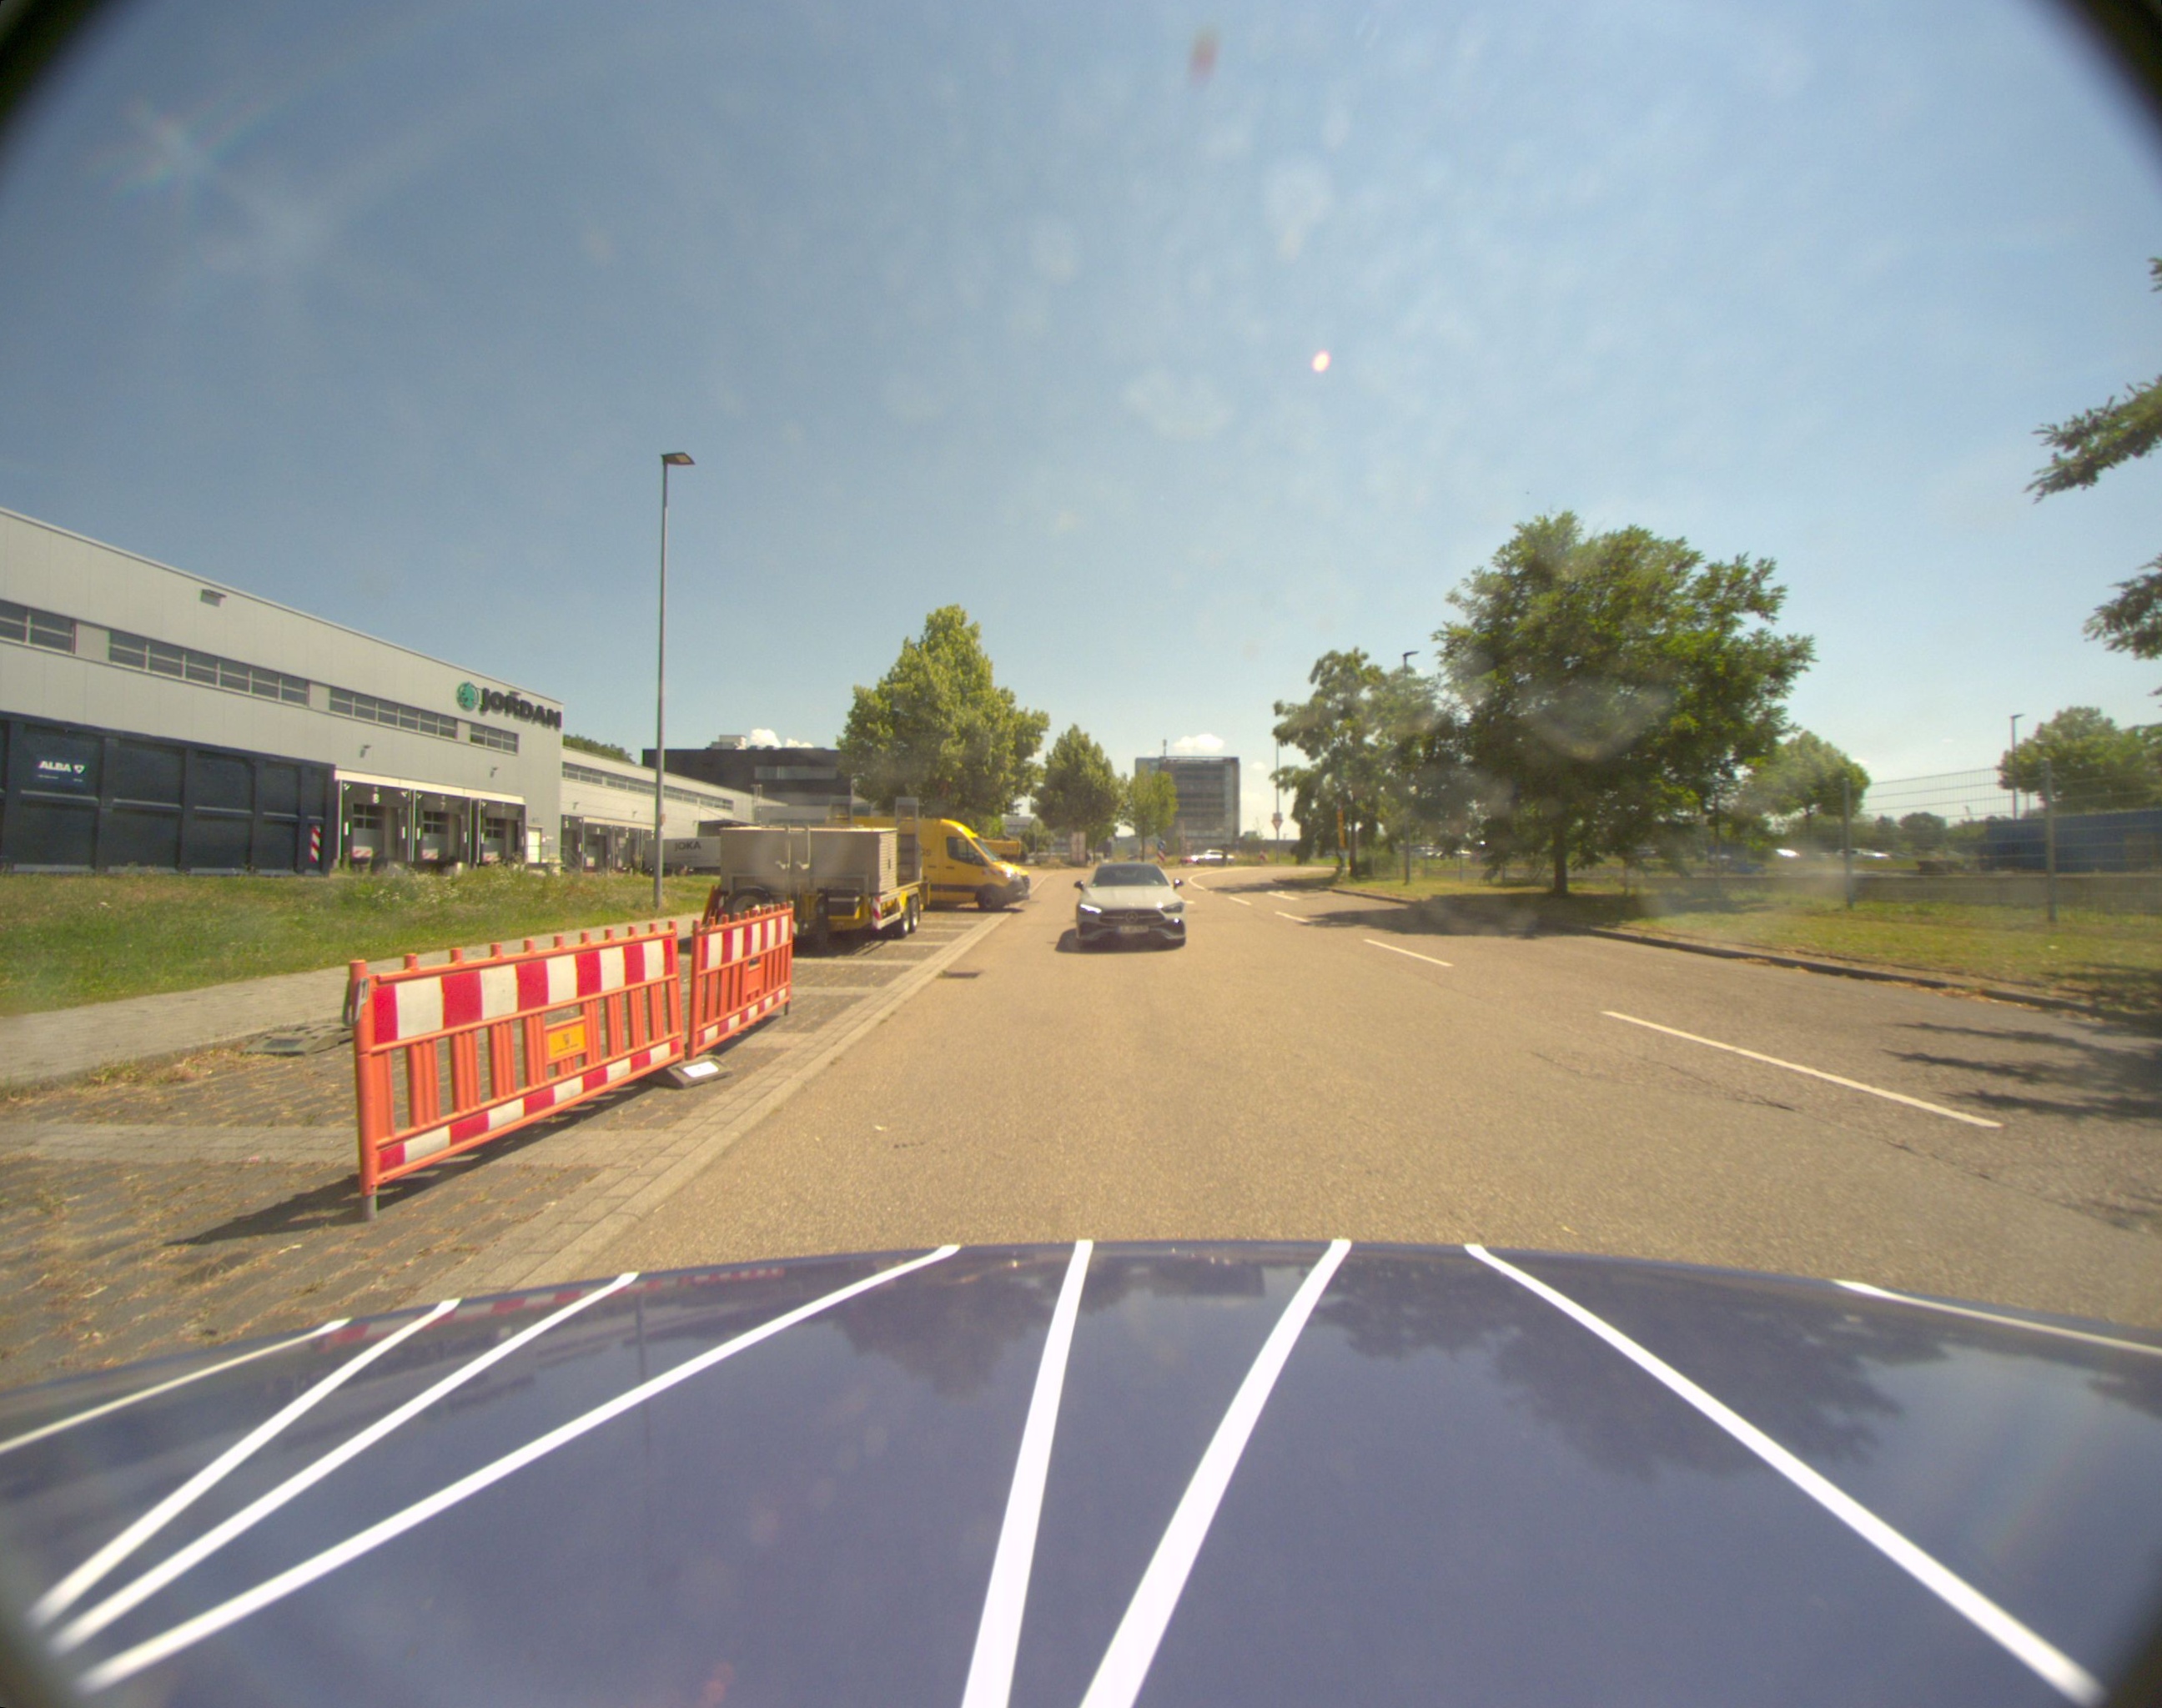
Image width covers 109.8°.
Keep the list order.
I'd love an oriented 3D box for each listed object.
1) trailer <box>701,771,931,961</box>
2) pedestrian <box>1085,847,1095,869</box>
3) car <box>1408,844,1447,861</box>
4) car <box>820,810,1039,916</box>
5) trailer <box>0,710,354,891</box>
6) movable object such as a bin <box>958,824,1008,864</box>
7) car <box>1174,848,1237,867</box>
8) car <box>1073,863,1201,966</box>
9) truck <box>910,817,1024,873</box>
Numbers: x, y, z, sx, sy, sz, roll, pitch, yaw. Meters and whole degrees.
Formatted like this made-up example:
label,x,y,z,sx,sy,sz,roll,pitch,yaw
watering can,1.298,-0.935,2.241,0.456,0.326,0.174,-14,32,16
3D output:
label,x,y,z,sx,sy,sz,roll,pitch,yaw
trailer,-4.581,0.187,14.368,2.664,2.840,5.518,2,0,-4
pedestrian,0.675,0.342,59.260,0.578,1.659,0.532,-3,-3,27
car,29.830,-0.128,65.444,1.573,1.289,3.879,-2,-2,1
car,-4.233,0.225,21.863,5.793,2.717,2.000,2,1,1
trailer,-16.353,-0.692,11.906,2.665,2.405,7.419,-1,-3,1
movable object such as a bin,-6.631,-0.694,52.027,1.998,2.566,6.579,-1,1,5
car,9.649,0.262,58.802,4.499,1.365,1.673,0,-4,-14
car,0.896,0.944,13.779,1.897,1.375,4.633,-1,1,1
truck,-6.599,-0.537,44.813,6.422,3.119,2.594,0,2,-4
